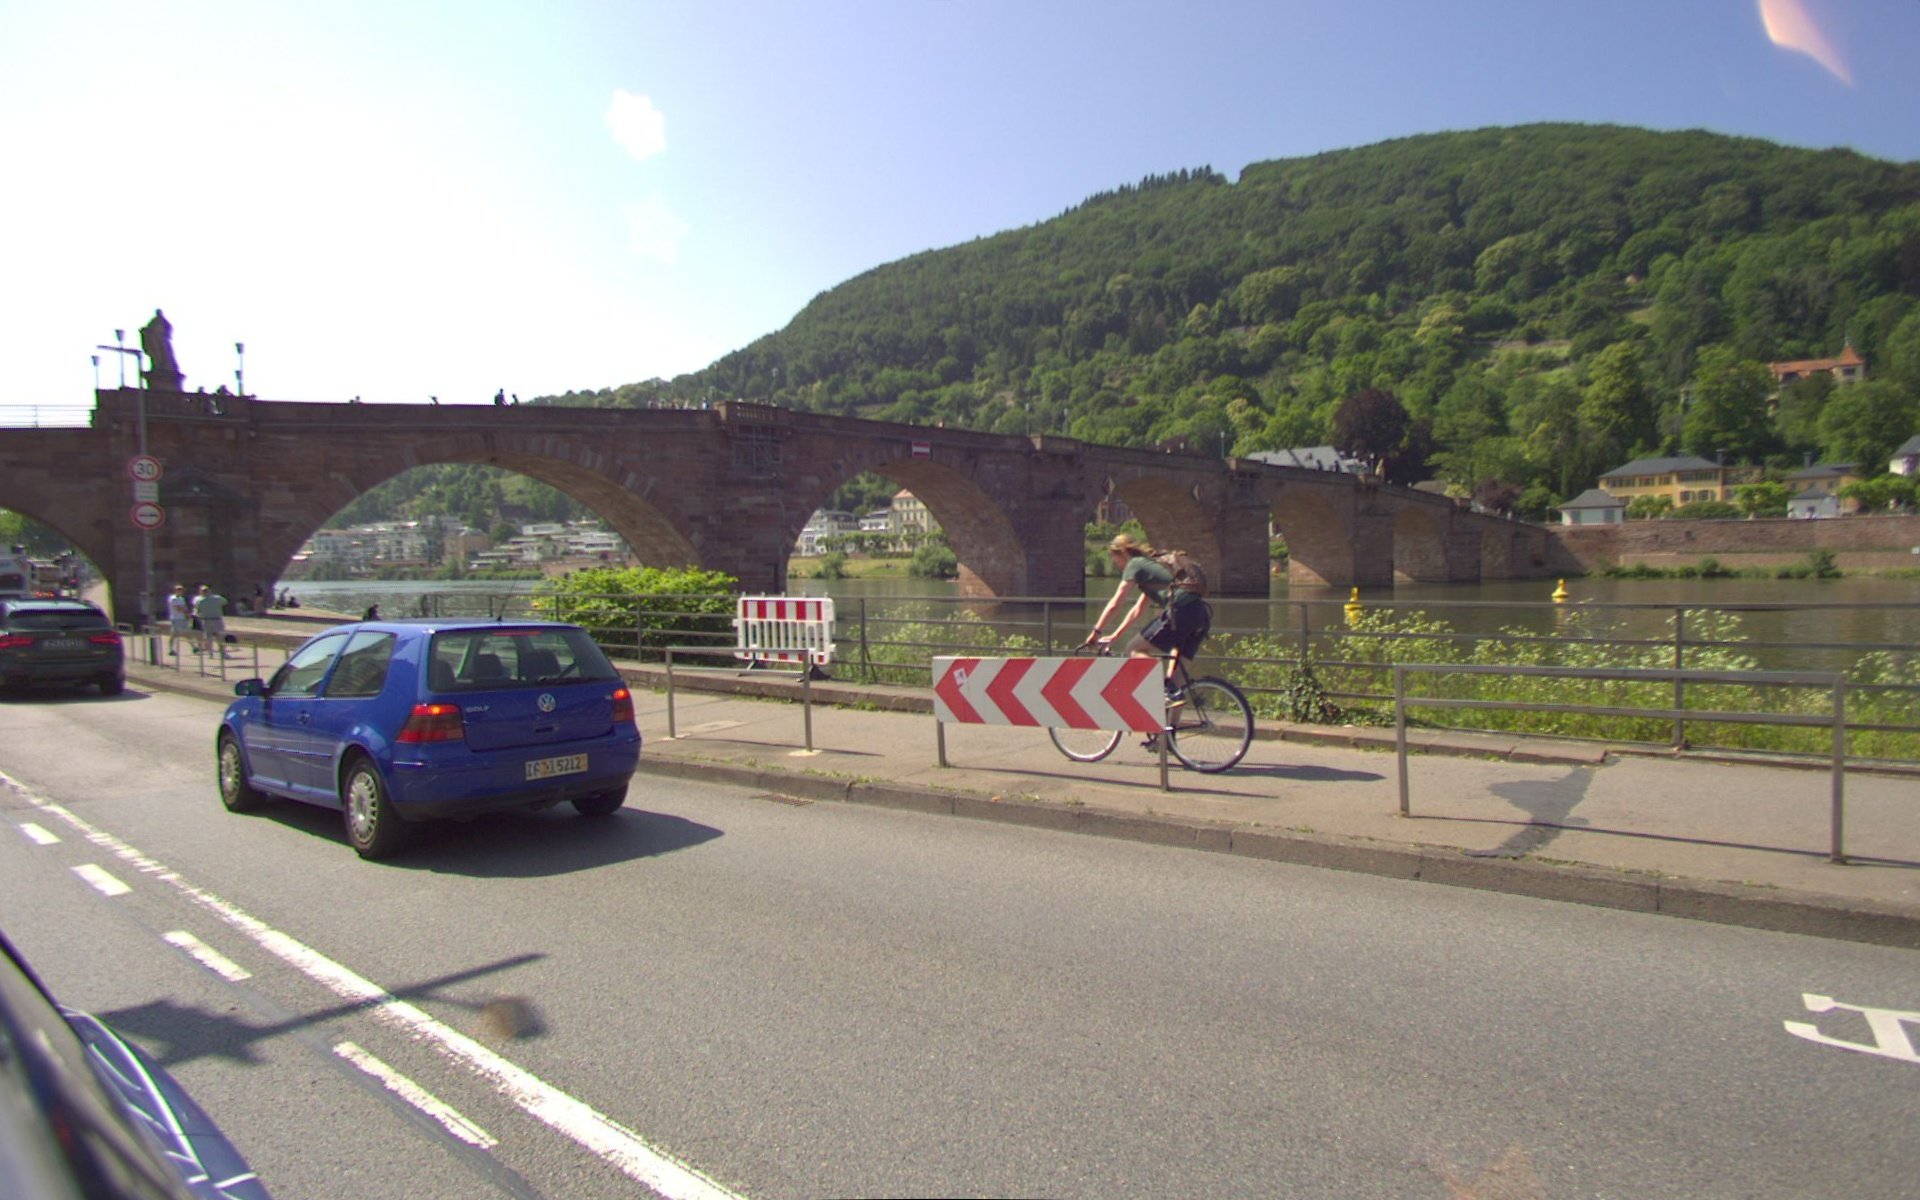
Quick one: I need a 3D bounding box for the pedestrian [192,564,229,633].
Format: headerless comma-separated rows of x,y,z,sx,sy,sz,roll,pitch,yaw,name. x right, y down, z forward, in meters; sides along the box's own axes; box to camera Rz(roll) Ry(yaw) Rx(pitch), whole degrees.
-20.261,-0.052,27.368,0.535,1.806,0.824,-2,1,-19,pedestrian

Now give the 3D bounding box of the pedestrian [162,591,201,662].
-20.238,0.673,26.327,0.513,1.806,0.824,-2,1,-19,pedestrian

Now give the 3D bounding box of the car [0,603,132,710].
-16.503,0.917,18.101,4.450,1.693,1.844,-1,0,40,car

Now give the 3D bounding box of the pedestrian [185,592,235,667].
-17.986,0.700,24.278,0.538,1.735,0.755,-1,1,7,pedestrian

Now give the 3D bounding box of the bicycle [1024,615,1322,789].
1.524,0.692,7.418,2.027,1.121,0.662,-1,-1,32,bicycle

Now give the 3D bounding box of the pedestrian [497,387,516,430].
-23.248,-9.796,51.903,0.625,2.029,0.686,1,2,40,pedestrian

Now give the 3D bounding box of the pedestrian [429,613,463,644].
-19.368,1.065,38.103,0.954,1.139,0.832,-1,1,-41,pedestrian

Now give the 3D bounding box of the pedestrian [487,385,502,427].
-23.704,-9.860,51.501,0.639,2.029,0.461,1,2,41,pedestrian

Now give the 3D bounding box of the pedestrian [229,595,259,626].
-29.178,0.433,41.262,1.026,1.239,0.779,-1,1,43,pedestrian

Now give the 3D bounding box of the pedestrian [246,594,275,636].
-28.275,0.586,40.907,0.774,1.663,0.779,-1,1,43,pedestrian

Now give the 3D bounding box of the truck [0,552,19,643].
-42.448,-0.114,43.808,2.494,3.777,6.252,1,-1,-43,truck

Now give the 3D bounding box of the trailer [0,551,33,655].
-38.222,0.017,39.521,2.495,3.671,11.538,0,1,-45,trailer

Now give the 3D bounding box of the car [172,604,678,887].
-4.105,0.801,7.454,4.320,1.502,1.712,-1,0,38,car

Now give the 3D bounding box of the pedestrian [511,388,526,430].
-22.856,-9.877,52.401,0.639,2.029,0.461,1,2,41,pedestrian

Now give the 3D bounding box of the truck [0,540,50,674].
-26.544,0.204,27.040,7.607,3.286,2.352,-1,1,41,truck

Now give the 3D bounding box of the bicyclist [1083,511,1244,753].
1.496,0.221,7.434,0.976,1.644,0.662,-1,0,32,bicyclist
